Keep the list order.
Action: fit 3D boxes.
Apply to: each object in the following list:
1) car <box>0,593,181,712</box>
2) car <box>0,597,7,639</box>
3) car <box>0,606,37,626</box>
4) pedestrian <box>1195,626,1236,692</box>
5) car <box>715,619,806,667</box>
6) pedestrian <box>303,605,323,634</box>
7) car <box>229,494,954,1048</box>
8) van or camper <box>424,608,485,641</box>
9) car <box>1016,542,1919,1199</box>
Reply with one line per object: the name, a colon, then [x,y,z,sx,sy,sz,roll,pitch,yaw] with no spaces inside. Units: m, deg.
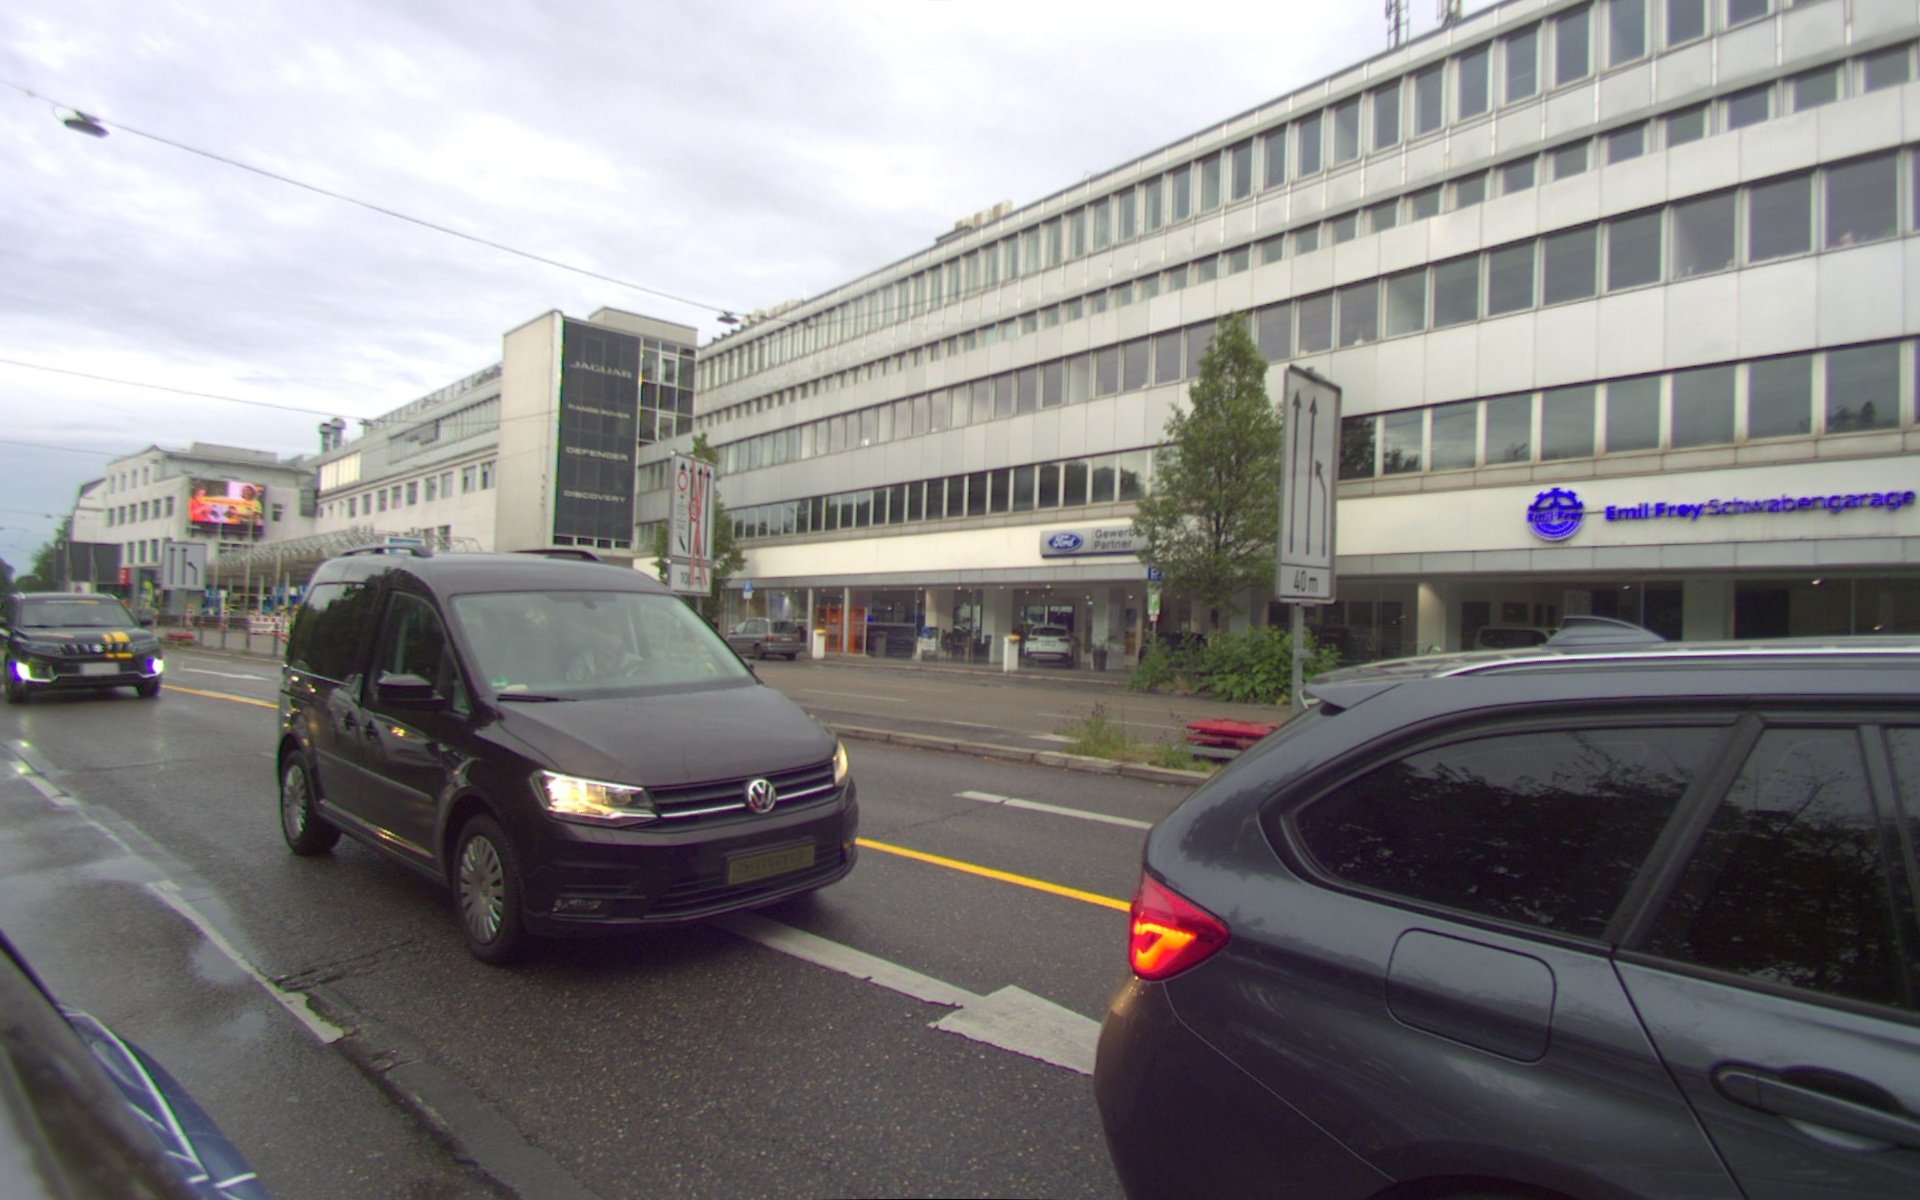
car: [-13.943,0.713,15.762,4.326,1.611,1.793,0,0,37]
car: [-39.911,0.728,40.880,4.333,1.650,1.747,0,0,43]
car: [-80.139,1.357,86.123,3.762,1.544,1.782,-1,-5,41]
pedestrian: [7.219,1.647,28.622,0.750,1.788,0.865,-1,0,-42]
car: [-8.613,1.799,43.482,1.895,1.829,4.169,-1,0,-44]
pedestrian: [-42.555,1.267,66.546,0.942,1.828,0.882,0,0,45]
car: [-2.295,0.559,5.530,4.430,1.828,1.880,0,0,42]
van or camper: [-30.427,1.462,60.891,1.913,1.938,4.688,3,-2,-44]
car: [2.351,0.700,1.055,4.476,1.469,1.757,0,-2,42]
